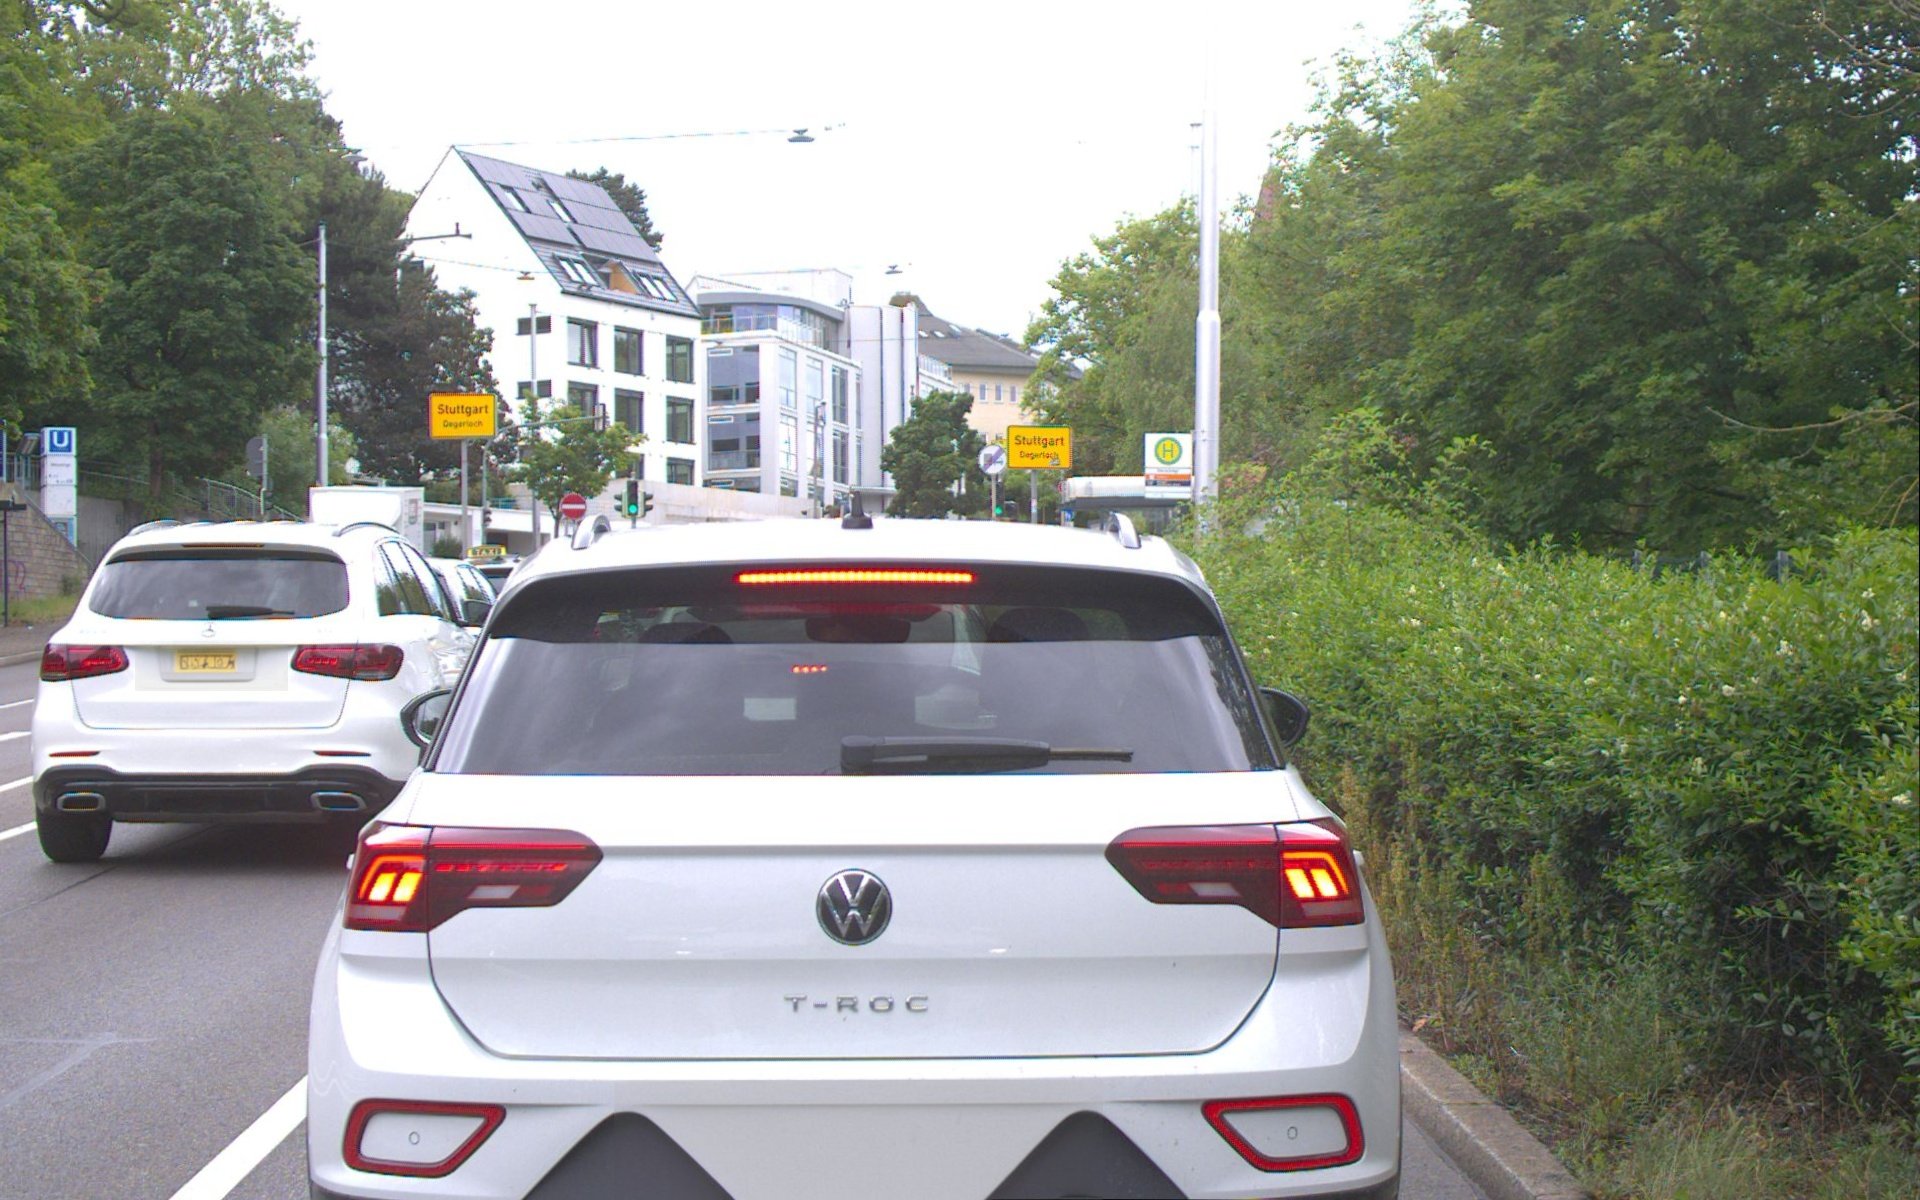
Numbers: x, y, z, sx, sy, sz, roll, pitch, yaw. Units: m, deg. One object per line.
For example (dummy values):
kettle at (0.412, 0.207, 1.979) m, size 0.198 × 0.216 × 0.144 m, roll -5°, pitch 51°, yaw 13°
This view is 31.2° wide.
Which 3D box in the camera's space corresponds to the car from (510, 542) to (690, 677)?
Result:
car at (-4.308, 0.077, 41.611) m, size 1.829 × 1.520 × 4.000 m, roll -1°, pitch 1°, yaw -1°

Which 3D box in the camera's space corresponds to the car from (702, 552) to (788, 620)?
car at (-4.993, -0.352, 80.376) m, size 1.829 × 1.520 × 4.000 m, roll -1°, pitch 1°, yaw -1°

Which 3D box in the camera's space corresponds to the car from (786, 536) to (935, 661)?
car at (-1.285, -0.049, 44.635) m, size 1.829 × 1.520 × 4.000 m, roll -1°, pitch 1°, yaw -1°

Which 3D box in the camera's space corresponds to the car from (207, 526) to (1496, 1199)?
car at (-0.199, 0.630, 6.900) m, size 1.829 × 1.520 × 4.000 m, roll 0°, pitch 1°, yaw -1°

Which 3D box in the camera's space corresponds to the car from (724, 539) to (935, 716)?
car at (-1.200, 0.211, 32.237) m, size 1.829 × 1.520 × 4.000 m, roll -1°, pitch 1°, yaw -1°

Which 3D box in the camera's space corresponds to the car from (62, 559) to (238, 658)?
car at (-12.232, 0.094, 52.156) m, size 1.679 × 1.390 × 4.361 m, roll -2°, pitch 1°, yaw -1°

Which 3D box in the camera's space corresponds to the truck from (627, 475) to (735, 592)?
truck at (-6.888, -1.644, 85.397) m, size 2.362 × 2.772 × 4.478 m, roll -2°, pitch 1°, yaw -1°

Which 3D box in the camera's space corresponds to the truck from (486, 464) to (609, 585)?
truck at (-9.646, -1.765, 80.744) m, size 2.362 × 2.697 × 4.478 m, roll -2°, pitch 1°, yaw -1°

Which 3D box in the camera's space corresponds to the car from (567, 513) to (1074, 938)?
car at (-0.559, 0.428, 14.571) m, size 1.829 × 1.520 × 4.000 m, roll -1°, pitch 1°, yaw -1°

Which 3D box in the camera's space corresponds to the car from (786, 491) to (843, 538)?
car at (-4.934, -2.884, 116.790) m, size 1.829 × 1.520 × 4.000 m, roll -1°, pitch 1°, yaw -1°

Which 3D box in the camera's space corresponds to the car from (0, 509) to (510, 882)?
car at (-3.469, 0.400, 17.490) m, size 1.918 × 1.664 × 4.000 m, roll 0°, pitch 1°, yaw -1°

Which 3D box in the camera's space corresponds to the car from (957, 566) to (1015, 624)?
car at (0.915, -0.163, 122.461) m, size 1.993 × 2.007 × 4.000 m, roll -1°, pitch 0°, yaw 0°

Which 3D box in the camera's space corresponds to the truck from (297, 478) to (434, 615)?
truck at (-13.994, -1.246, 81.365) m, size 2.293 × 3.040 × 6.980 m, roll -1°, pitch 1°, yaw -3°

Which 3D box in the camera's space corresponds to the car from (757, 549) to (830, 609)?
car at (-4.410, -0.578, 91.616) m, size 1.829 × 1.520 × 4.000 m, roll -1°, pitch 1°, yaw -1°

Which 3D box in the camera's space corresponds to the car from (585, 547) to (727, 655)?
car at (-4.491, -0.014, 51.257) m, size 1.829 × 1.520 × 4.000 m, roll -1°, pitch 1°, yaw -1°

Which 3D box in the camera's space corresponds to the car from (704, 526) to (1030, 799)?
car at (-0.582, 0.323, 21.577) m, size 1.829 × 1.520 × 4.000 m, roll -1°, pitch 1°, yaw -1°

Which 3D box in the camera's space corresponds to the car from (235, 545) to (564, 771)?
car at (-4.009, 0.357, 25.203) m, size 1.829 × 1.492 × 4.000 m, roll -1°, pitch 1°, yaw -1°

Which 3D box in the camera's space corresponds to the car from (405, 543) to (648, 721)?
car at (-3.966, 0.246, 32.015) m, size 1.829 × 1.520 × 4.000 m, roll -1°, pitch 1°, yaw -1°

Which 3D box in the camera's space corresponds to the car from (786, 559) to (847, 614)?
car at (-4.549, -0.445, 109.230) m, size 1.815 × 1.651 × 3.929 m, roll -2°, pitch 1°, yaw -1°

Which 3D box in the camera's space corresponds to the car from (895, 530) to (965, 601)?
car at (-0.883, -1.022, 100.488) m, size 1.993 × 2.007 × 4.000 m, roll -1°, pitch 1°, yaw -1°
